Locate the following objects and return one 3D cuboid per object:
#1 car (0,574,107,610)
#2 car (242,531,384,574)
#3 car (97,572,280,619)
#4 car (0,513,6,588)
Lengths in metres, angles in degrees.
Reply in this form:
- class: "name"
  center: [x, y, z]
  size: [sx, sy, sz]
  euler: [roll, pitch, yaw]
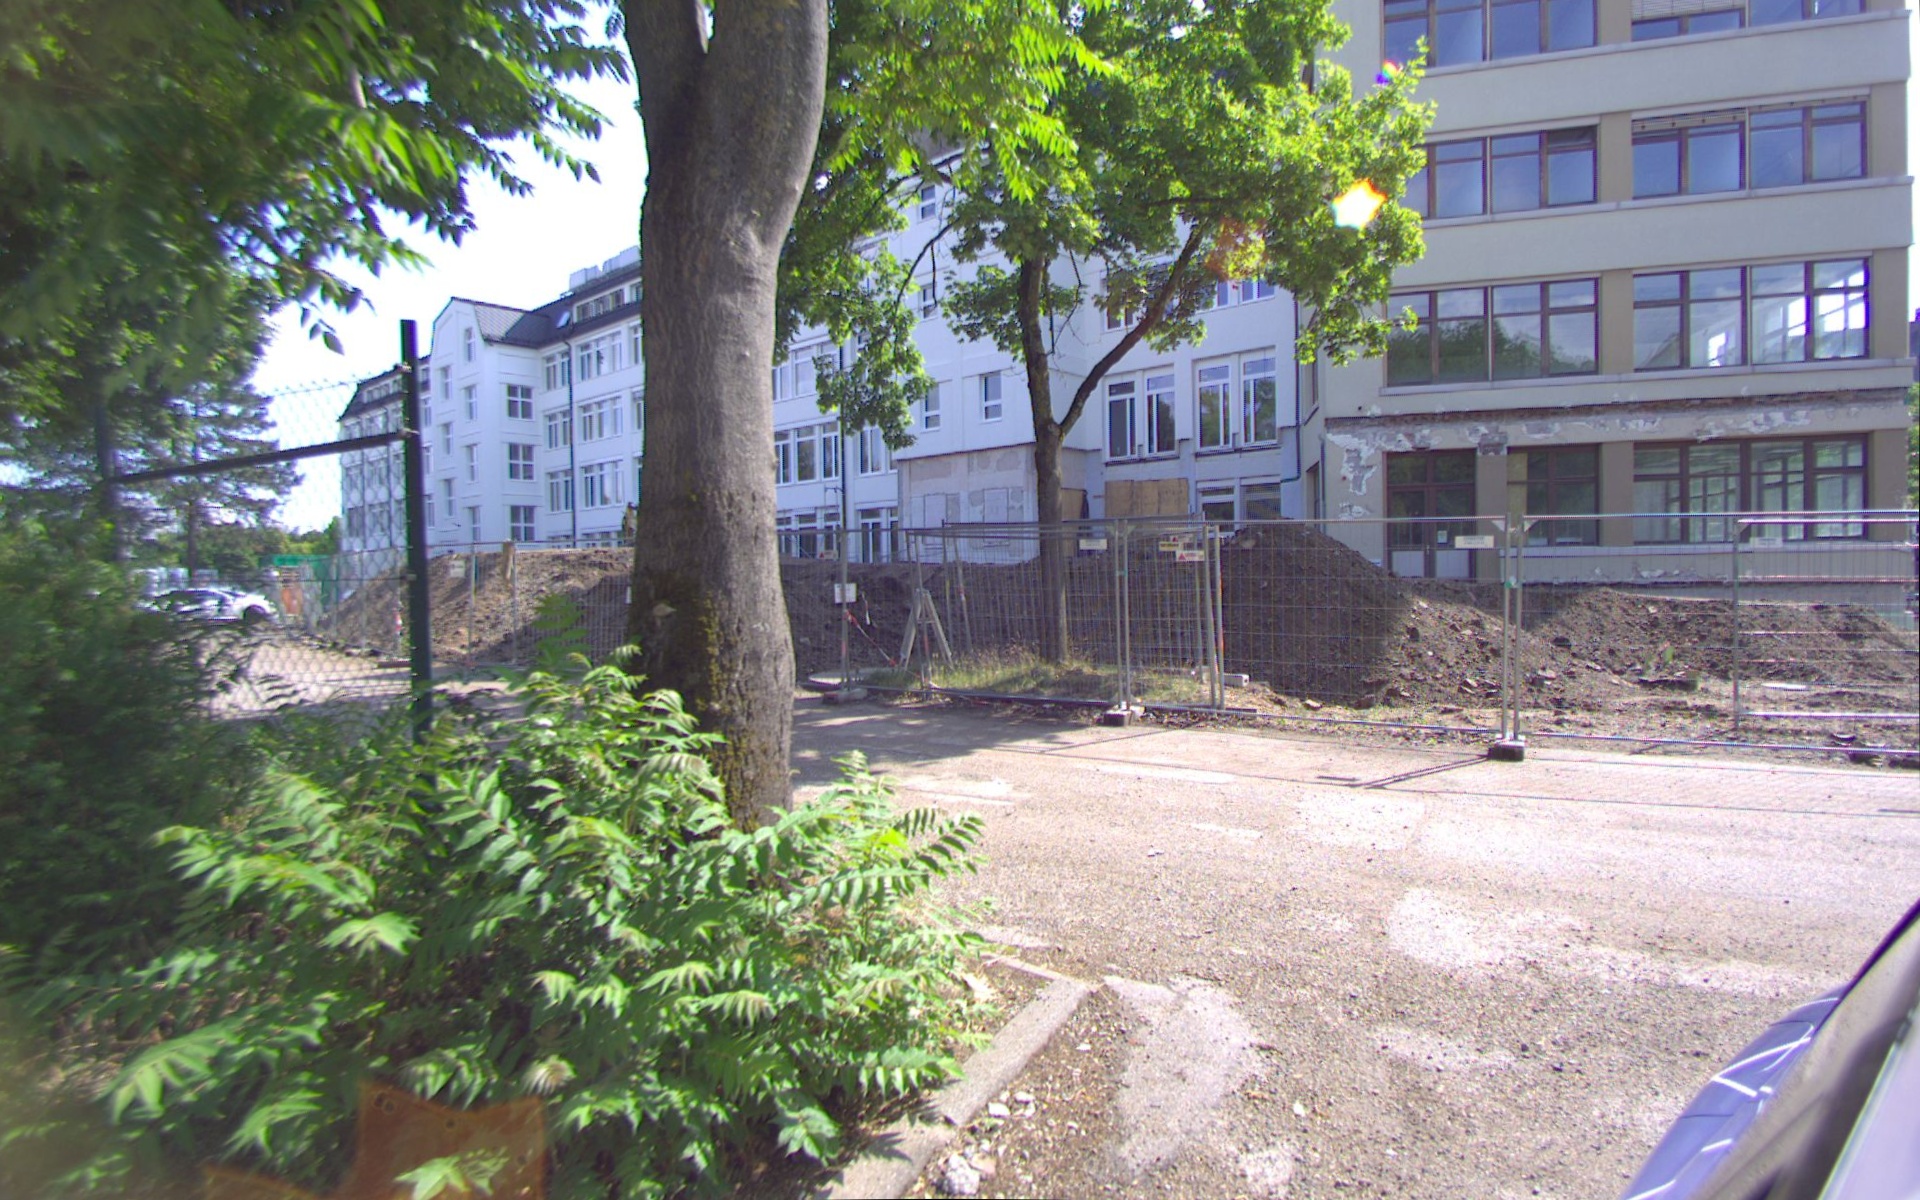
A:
- class: "car"
  center: [-43.922, -0.362, 48.534]
  size: [1.832, 1.607, 4.233]
  euler: [0, -2, 34]
- class: "car"
  center: [-27.578, -1.982, 43.255]
  size: [1.838, 1.446, 4.793]
  euler: [0, -2, 42]
- class: "car"
  center: [-26.749, -0.116, 35.237]
  size: [1.838, 1.446, 4.793]
  euler: [0, -2, 42]
- class: "car"
  center: [-21.532, -0.372, 17.534]
  size: [1.980, 3.086, 6.912]
  euler: [2, -1, 25]
